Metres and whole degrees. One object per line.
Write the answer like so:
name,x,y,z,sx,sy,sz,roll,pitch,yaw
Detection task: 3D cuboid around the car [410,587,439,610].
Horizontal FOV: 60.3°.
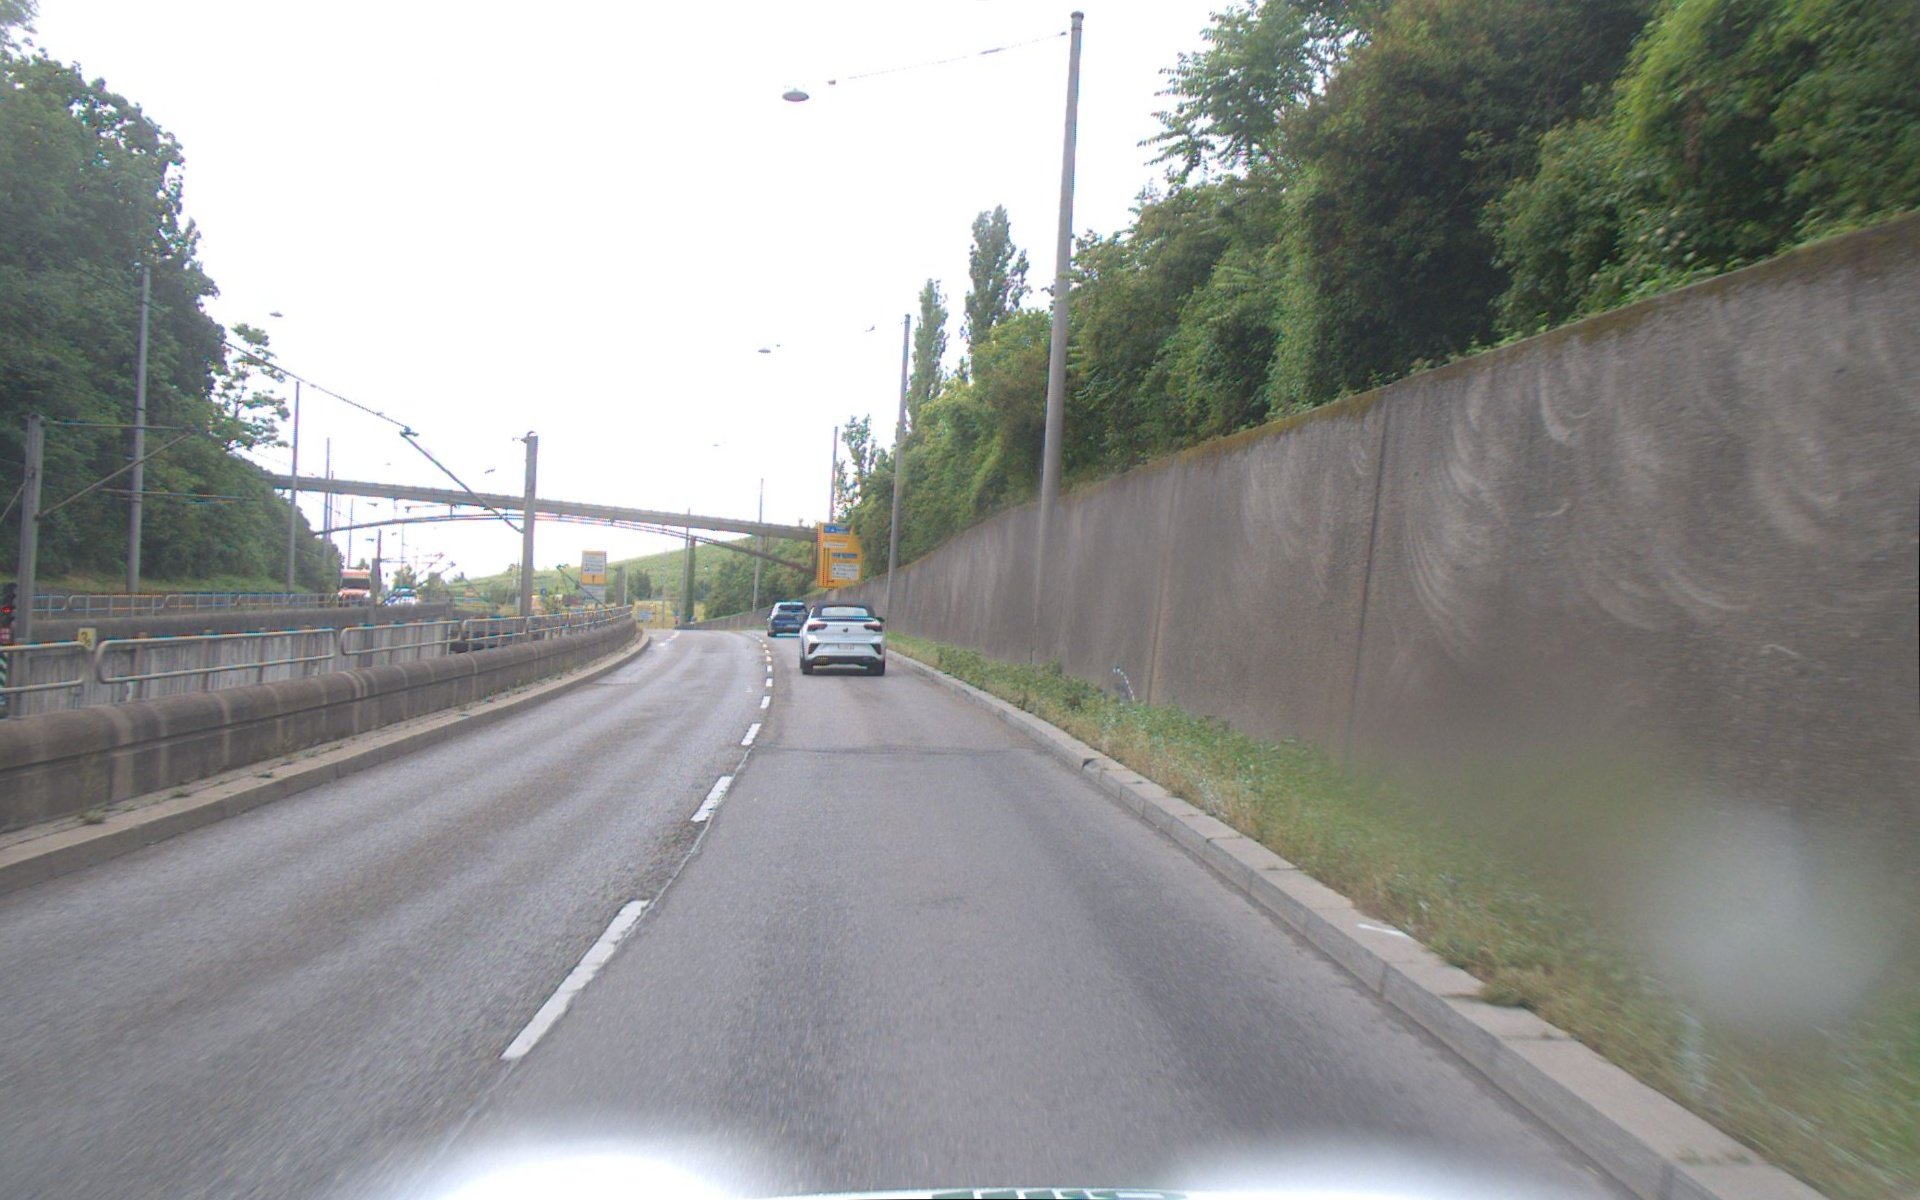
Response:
car,-42.268,-0.086,130.574,1.929,1.780,4.124,0,-1,-15

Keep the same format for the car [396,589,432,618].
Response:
car,-33.829,0.245,102.503,1.787,1.734,4.096,0,-1,-14

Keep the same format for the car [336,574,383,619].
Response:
car,-38.613,-0.185,106.479,2.145,2.782,6.322,0,-1,-14

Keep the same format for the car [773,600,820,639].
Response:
car,-6.953,0.800,70.808,1.888,1.627,4.058,0,0,-4

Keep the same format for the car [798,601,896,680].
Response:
car,-2.518,0.833,35.962,1.958,1.606,4.119,0,0,-7
